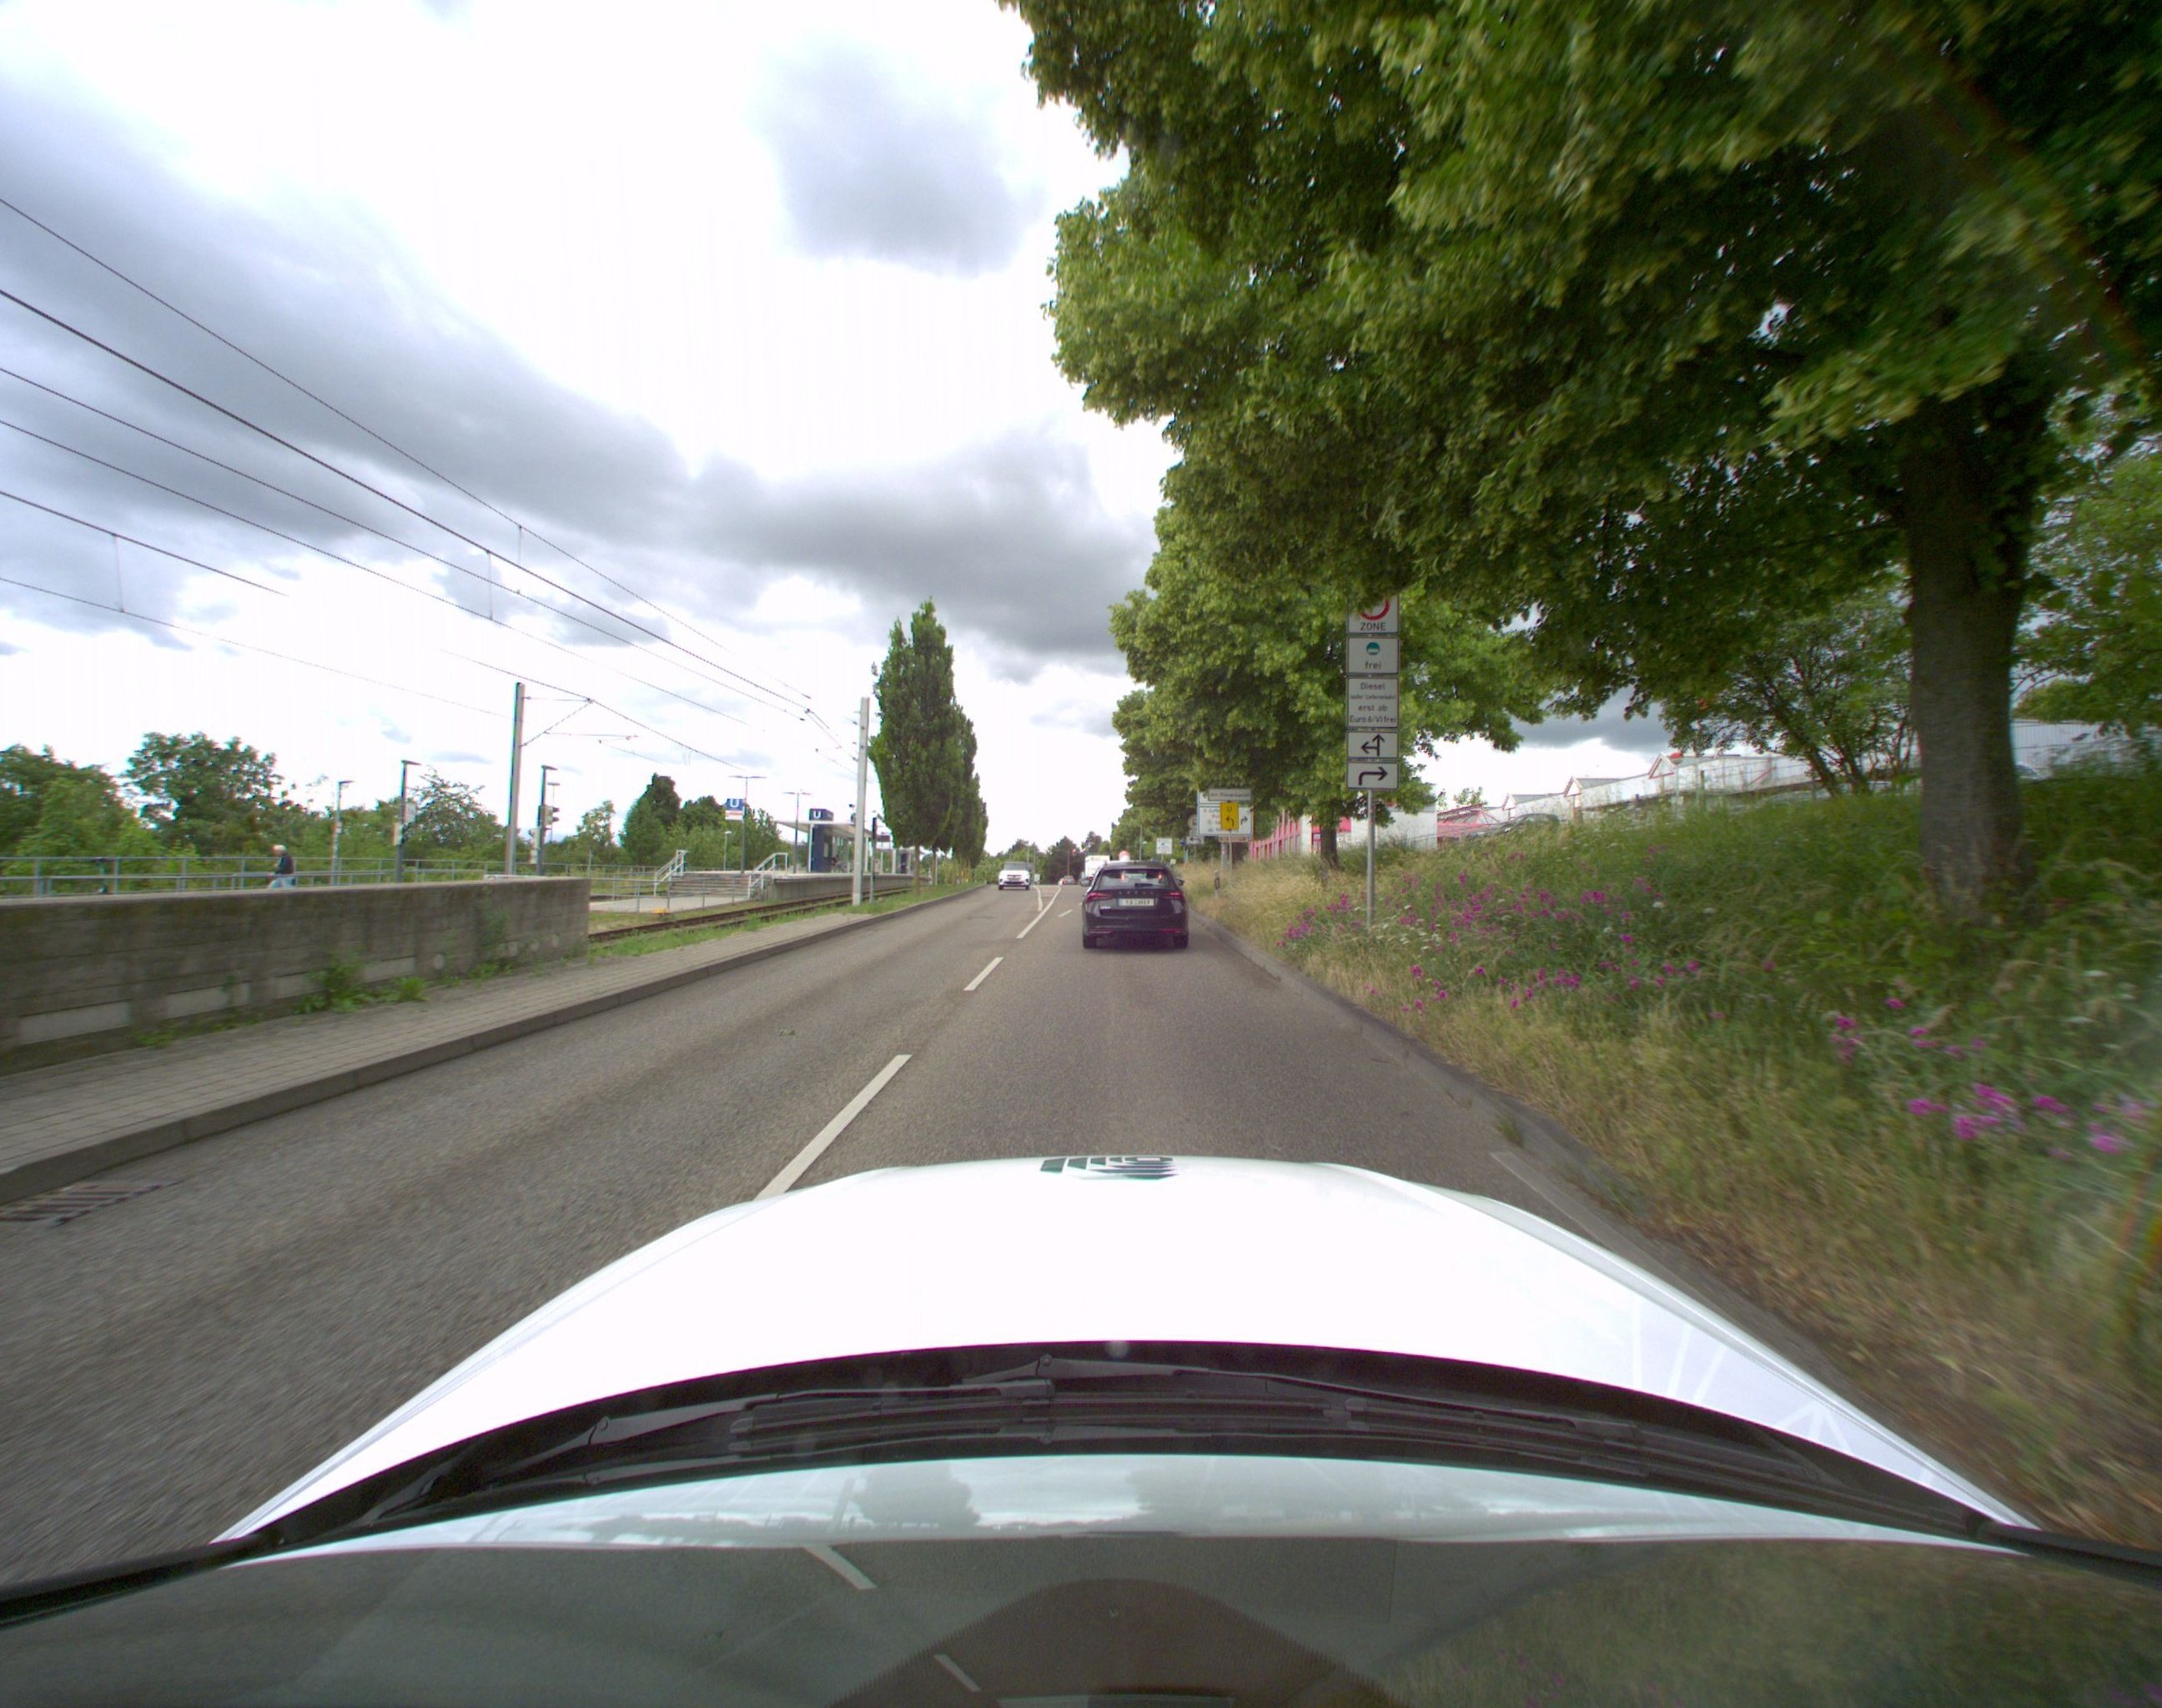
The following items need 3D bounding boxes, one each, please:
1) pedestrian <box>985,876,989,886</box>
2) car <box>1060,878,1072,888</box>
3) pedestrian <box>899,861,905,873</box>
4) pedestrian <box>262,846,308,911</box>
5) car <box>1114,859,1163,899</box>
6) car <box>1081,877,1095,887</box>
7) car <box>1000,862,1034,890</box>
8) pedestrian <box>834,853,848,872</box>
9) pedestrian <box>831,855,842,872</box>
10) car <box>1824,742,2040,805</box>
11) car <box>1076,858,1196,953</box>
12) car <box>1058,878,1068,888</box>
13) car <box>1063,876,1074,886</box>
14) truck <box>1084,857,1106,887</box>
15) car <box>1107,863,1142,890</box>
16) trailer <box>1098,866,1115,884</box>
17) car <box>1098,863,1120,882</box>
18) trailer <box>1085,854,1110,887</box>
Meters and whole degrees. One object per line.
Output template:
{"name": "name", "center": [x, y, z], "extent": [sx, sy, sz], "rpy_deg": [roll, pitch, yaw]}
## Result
{"name": "pedestrian", "center": [-15.594, 4.408, 134.820], "extent": [0.586, 1.621, 0.422], "rpy_deg": [0, -1, -6]}
{"name": "car", "center": [-2.343, 4.402, 125.086], "extent": [1.718, 1.422, 4.349], "rpy_deg": [0, -3, -4]}
{"name": "pedestrian", "center": [-19.333, 1.434, 87.923], "extent": [0.610, 1.269, 0.658], "rpy_deg": [0, -1, -9]}
{"name": "pedestrian", "center": [-20.350, 0.615, 20.825], "extent": [0.505, 1.625, 0.646], "rpy_deg": [0, -1, 1]}
{"name": "car", "center": [2.154, 0.922, 31.302], "extent": [1.618, 1.457, 3.688], "rpy_deg": [0, -1, 0]}
{"name": "car", "center": [1.020, 4.016, 118.565], "extent": [1.807, 1.354, 4.115], "rpy_deg": [1, -1, -1]}
{"name": "car", "center": [-3.609, 1.221, 46.265], "extent": [1.711, 1.521, 3.742], "rpy_deg": [0, -1, -2]}
{"name": "pedestrian", "center": [-15.278, 0.543, 51.821], "extent": [0.760, 1.199, 0.664], "rpy_deg": [0, -2, -5]}
{"name": "pedestrian", "center": [-15.862, 0.593, 52.787], "extent": [0.606, 1.079, 0.469], "rpy_deg": [0, -1, -5]}
{"name": "car", "center": [22.978, -2.164, 22.126], "extent": [3.908, 1.482, 1.757], "rpy_deg": [1, 0, 4]}
{"name": "car", "center": [0.999, 0.807, 14.766], "extent": [1.827, 1.432, 4.283], "rpy_deg": [-1, 0, 4]}
{"name": "car", "center": [-2.914, 4.634, 130.288], "extent": [1.532, 1.505, 2.665], "rpy_deg": [0, -4, -4]}
{"name": "car", "center": [-1.738, 3.803, 115.961], "extent": [1.521, 1.354, 3.488], "rpy_deg": [0, 0, -1]}
{"name": "truck", "center": [1.800, 2.415, 107.207], "extent": [2.565, 3.707, 4.100], "rpy_deg": [0, -5, -3]}
{"name": "car", "center": [2.347, 1.225, 44.890], "extent": [1.713, 1.457, 3.695], "rpy_deg": [0, -1, -1]}
{"name": "trailer", "center": [2.368, 1.981, 75.784], "extent": [1.405, 1.594, 3.301], "rpy_deg": [0, -2, -1]}
{"name": "car", "center": [2.382, 1.585, 69.559], "extent": [1.692, 1.486, 4.000], "rpy_deg": [-1, 0, 0]}
{"name": "trailer", "center": [1.999, 2.114, 103.475], "extent": [2.560, 3.707, 7.751], "rpy_deg": [0, -5, -3]}
